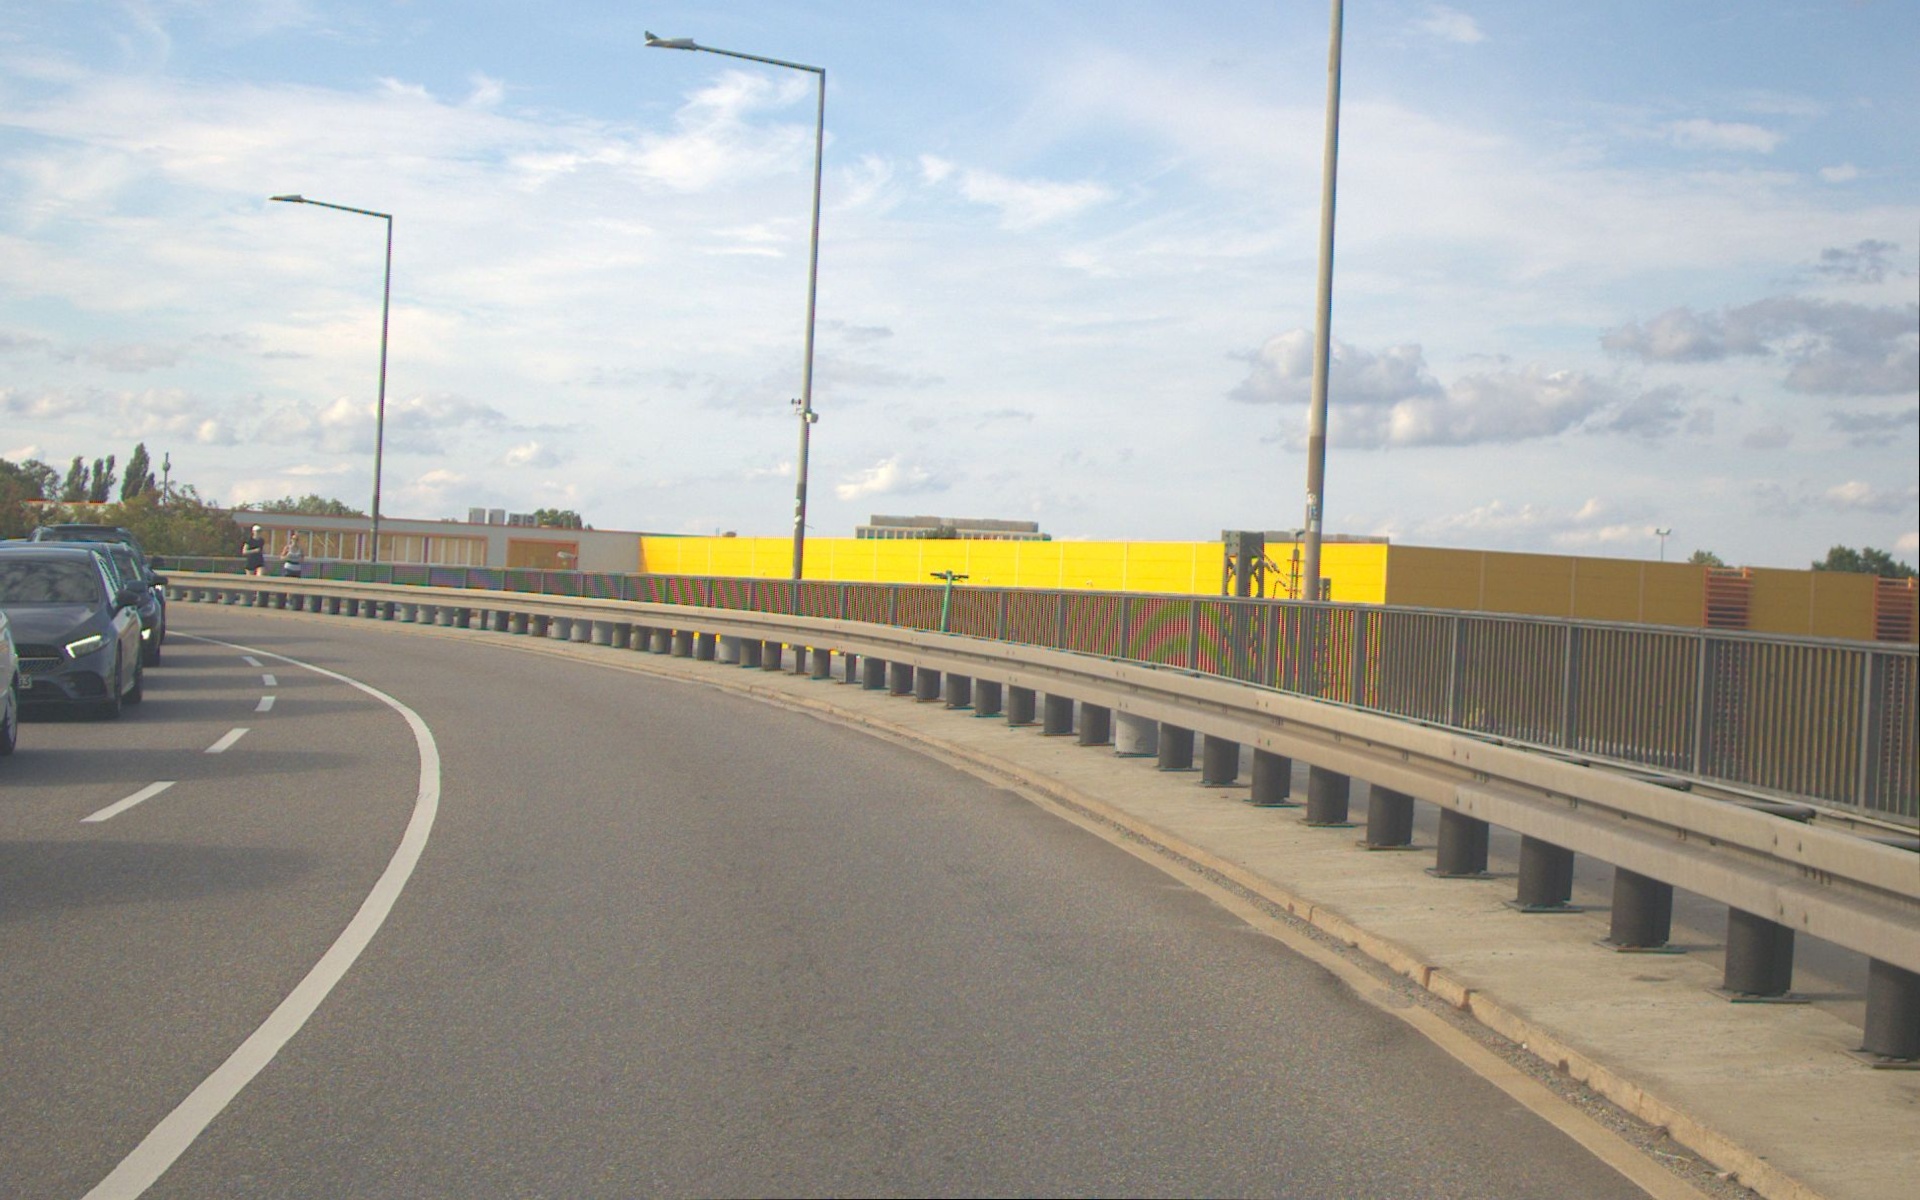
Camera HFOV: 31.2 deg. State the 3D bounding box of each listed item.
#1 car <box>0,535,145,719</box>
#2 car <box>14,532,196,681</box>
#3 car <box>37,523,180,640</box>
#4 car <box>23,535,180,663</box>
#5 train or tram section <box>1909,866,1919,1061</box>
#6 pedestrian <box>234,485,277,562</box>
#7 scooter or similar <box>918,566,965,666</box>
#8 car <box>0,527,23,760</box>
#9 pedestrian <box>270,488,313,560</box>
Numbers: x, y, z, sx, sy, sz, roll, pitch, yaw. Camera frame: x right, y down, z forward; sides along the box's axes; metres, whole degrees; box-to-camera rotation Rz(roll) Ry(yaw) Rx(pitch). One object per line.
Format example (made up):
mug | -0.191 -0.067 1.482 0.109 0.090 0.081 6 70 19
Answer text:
car | -8.012 0.175 29.495 1.812 1.452 4.326 0 1 -11
car | -9.223 0.032 36.891 1.759 1.484 4.393 0 1 -16
car | -12.855 -0.314 51.716 1.829 1.666 4.868 0 1 -17
car | -10.697 -0.051 42.661 1.759 1.484 4.447 0 1 -16
train or tram section | 31.106 8.895 86.686 16.693 4.696 3.097 0 1 -31
pedestrian | -15.252 -1.656 74.433 0.676 1.656 0.865 0 1 -27
scooter or similar | -0.220 0.183 40.884 0.265 1.158 1.189 1 1 -14
car | -7.125 0.291 22.289 1.682 1.540 3.924 0 1 -10
pedestrian | -14.571 -1.653 74.910 0.676 1.538 0.961 0 1 -27
